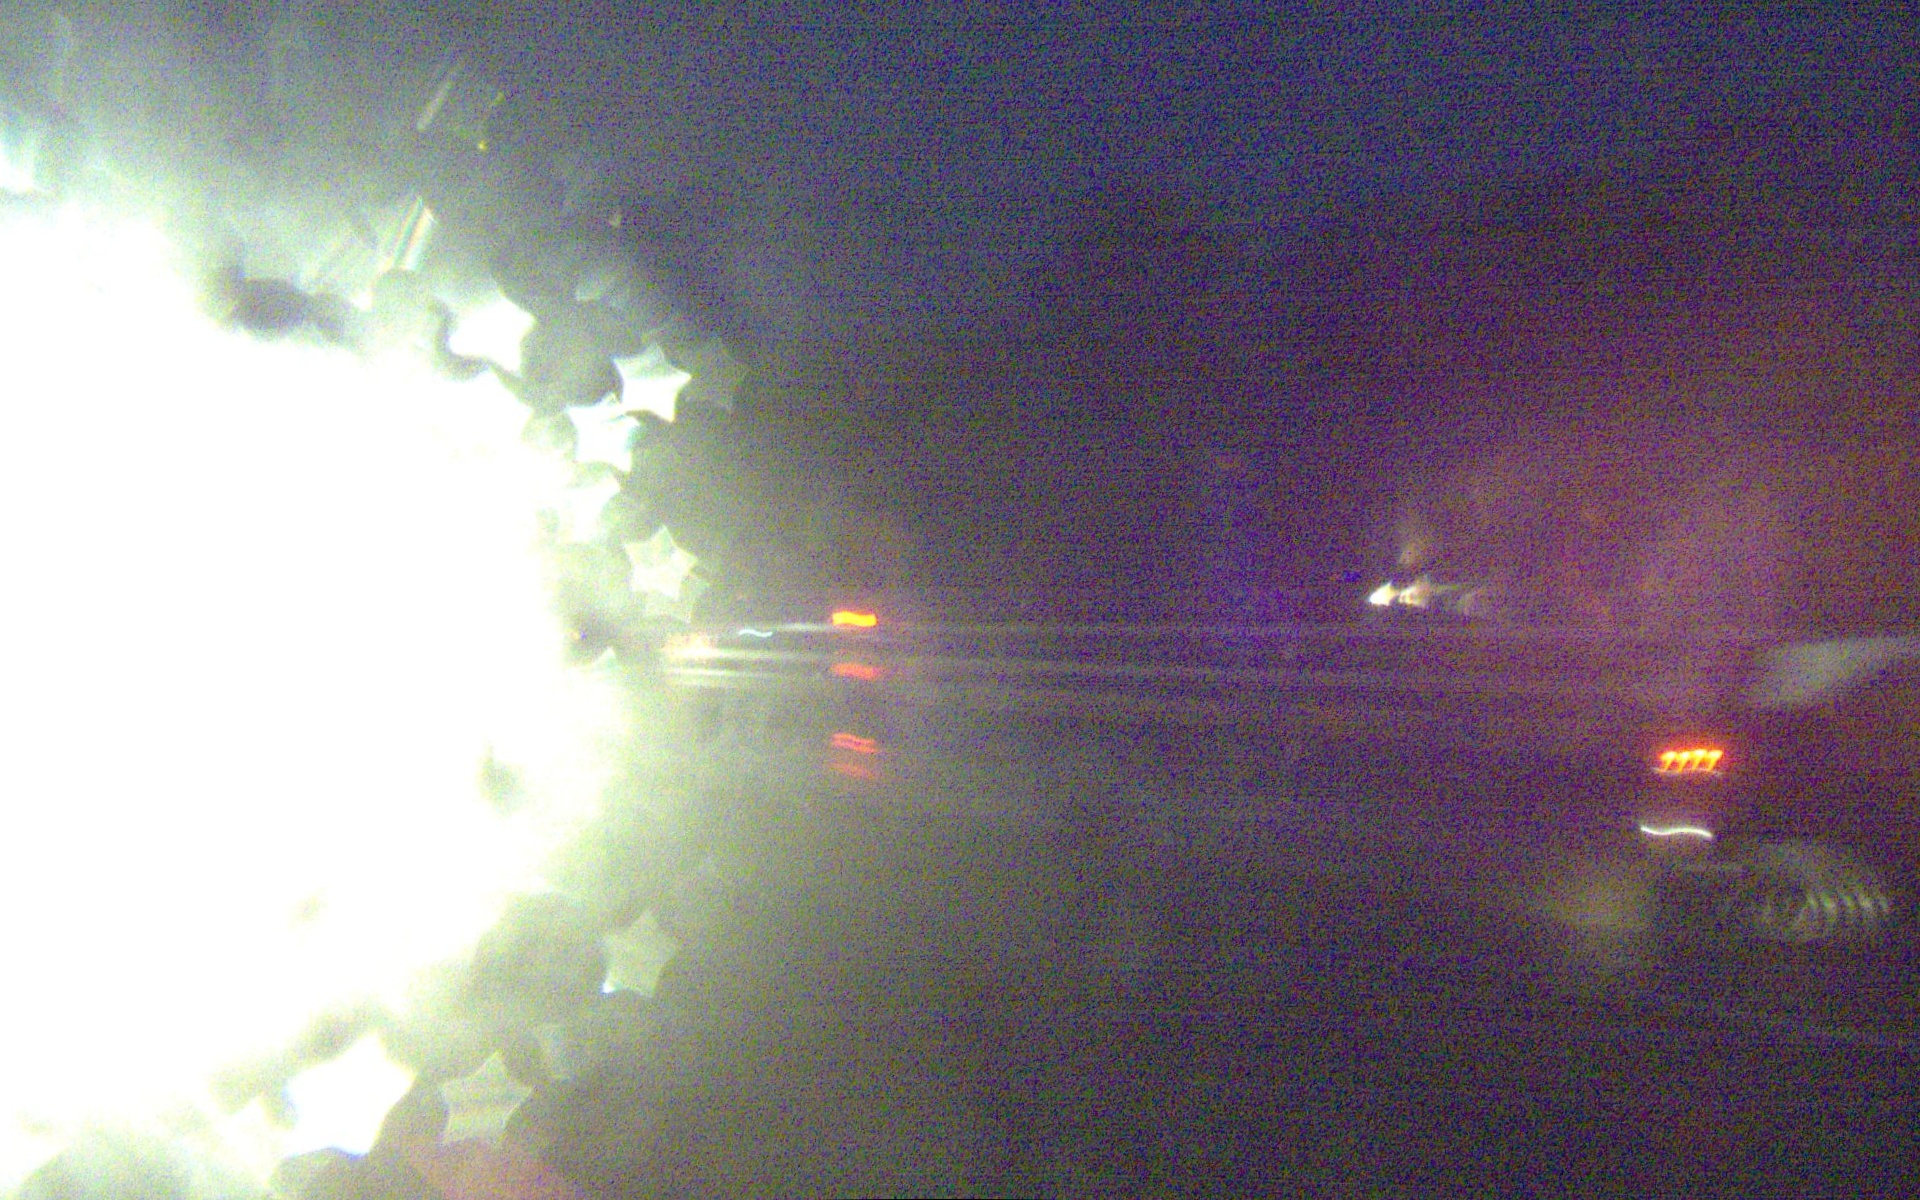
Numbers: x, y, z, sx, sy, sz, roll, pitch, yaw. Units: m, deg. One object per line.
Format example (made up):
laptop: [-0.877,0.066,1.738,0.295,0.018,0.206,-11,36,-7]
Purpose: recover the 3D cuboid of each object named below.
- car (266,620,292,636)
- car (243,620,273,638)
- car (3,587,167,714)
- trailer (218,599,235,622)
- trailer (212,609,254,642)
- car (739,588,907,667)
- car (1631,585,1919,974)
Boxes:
car: [-77.631,3.145,115.342,1.809,1.726,4.003,0,0,-44]
car: [-59.891,2.461,86.313,1.585,1.352,3.245,-2,1,-45]
car: [-16.509,0.901,19.020,4.462,2.121,1.731,-1,-2,42]
trailer: [-150.204,2.078,207.293,2.541,4.491,12.524,-1,0,-35]
trailer: [-80.646,2.757,112.186,2.578,3.499,10.458,0,0,-42]
car: [-3.869,0.712,28.120,4.808,2.029,1.973,0,0,41]
car: [5.165,0.736,4.145,3.847,1.587,1.632,-2,-3,41]
